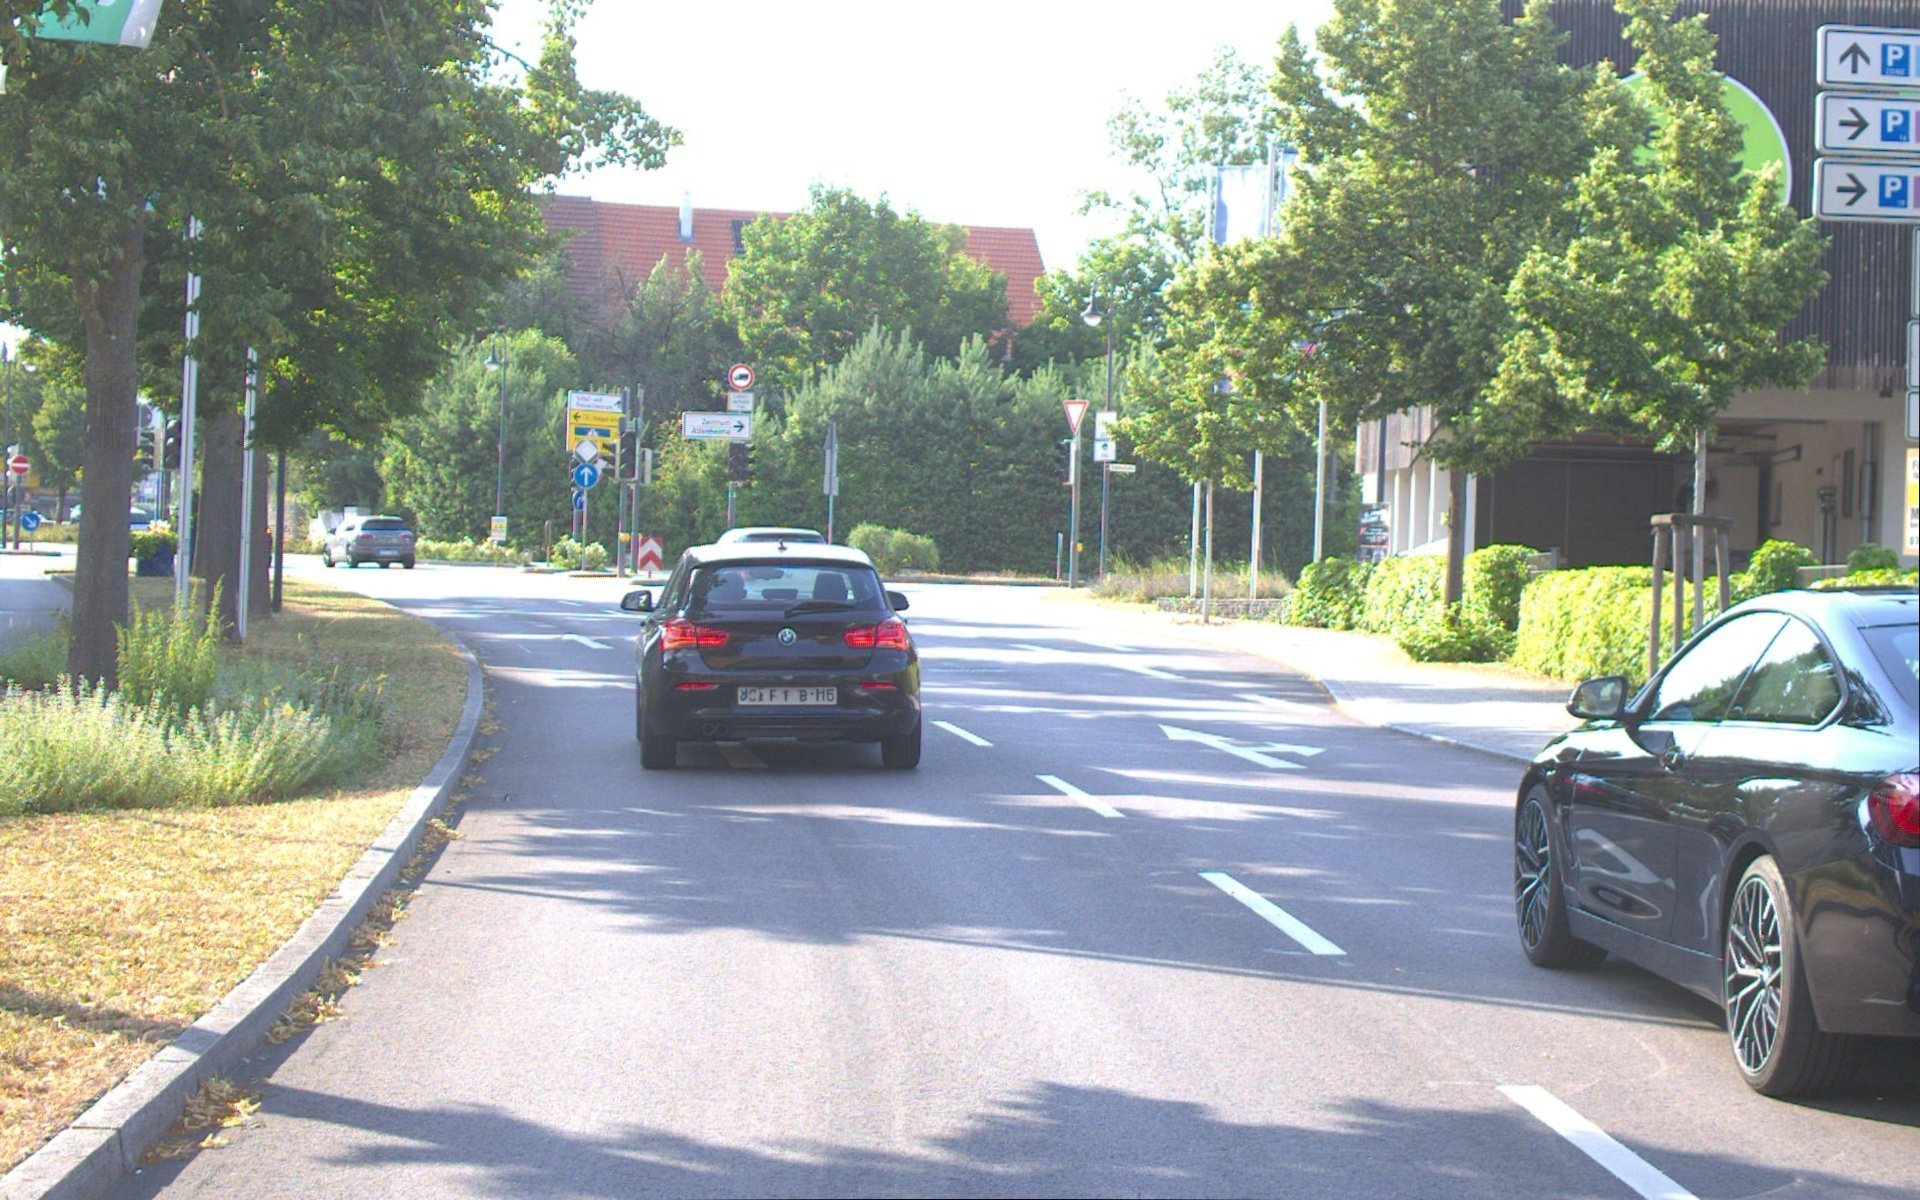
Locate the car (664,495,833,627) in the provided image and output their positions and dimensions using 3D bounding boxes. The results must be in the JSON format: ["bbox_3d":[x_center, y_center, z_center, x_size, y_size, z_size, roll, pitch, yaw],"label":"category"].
[{"bbox_3d":[-3.067,-0.582,48.978,1.924,1.763,4.456,1,1,-9],"label":"car"}]

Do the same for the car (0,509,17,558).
[{"bbox_3d":[-36.211,-2.466,125.601,2.217,1.763,4.454,0,1,-32],"label":"car"}]

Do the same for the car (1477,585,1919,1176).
[{"bbox_3d":[2.942,0.673,10.422,1.920,1.359,4.353,1,1,-2],"label":"car"}]

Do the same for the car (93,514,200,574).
[{"bbox_3d":[-25.942,-1.800,109.502,2.258,1.669,4.589,3,1,-27],"label":"car"}]

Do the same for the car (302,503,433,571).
[{"bbox_3d":[-16.481,-1.769,95.442,2.258,1.669,4.589,3,1,-27],"label":"car"}]

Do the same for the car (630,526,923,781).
[{"bbox_3d":[-1.204,0.290,23.053,1.721,1.485,4.353,2,1,-2],"label":"car"}]
